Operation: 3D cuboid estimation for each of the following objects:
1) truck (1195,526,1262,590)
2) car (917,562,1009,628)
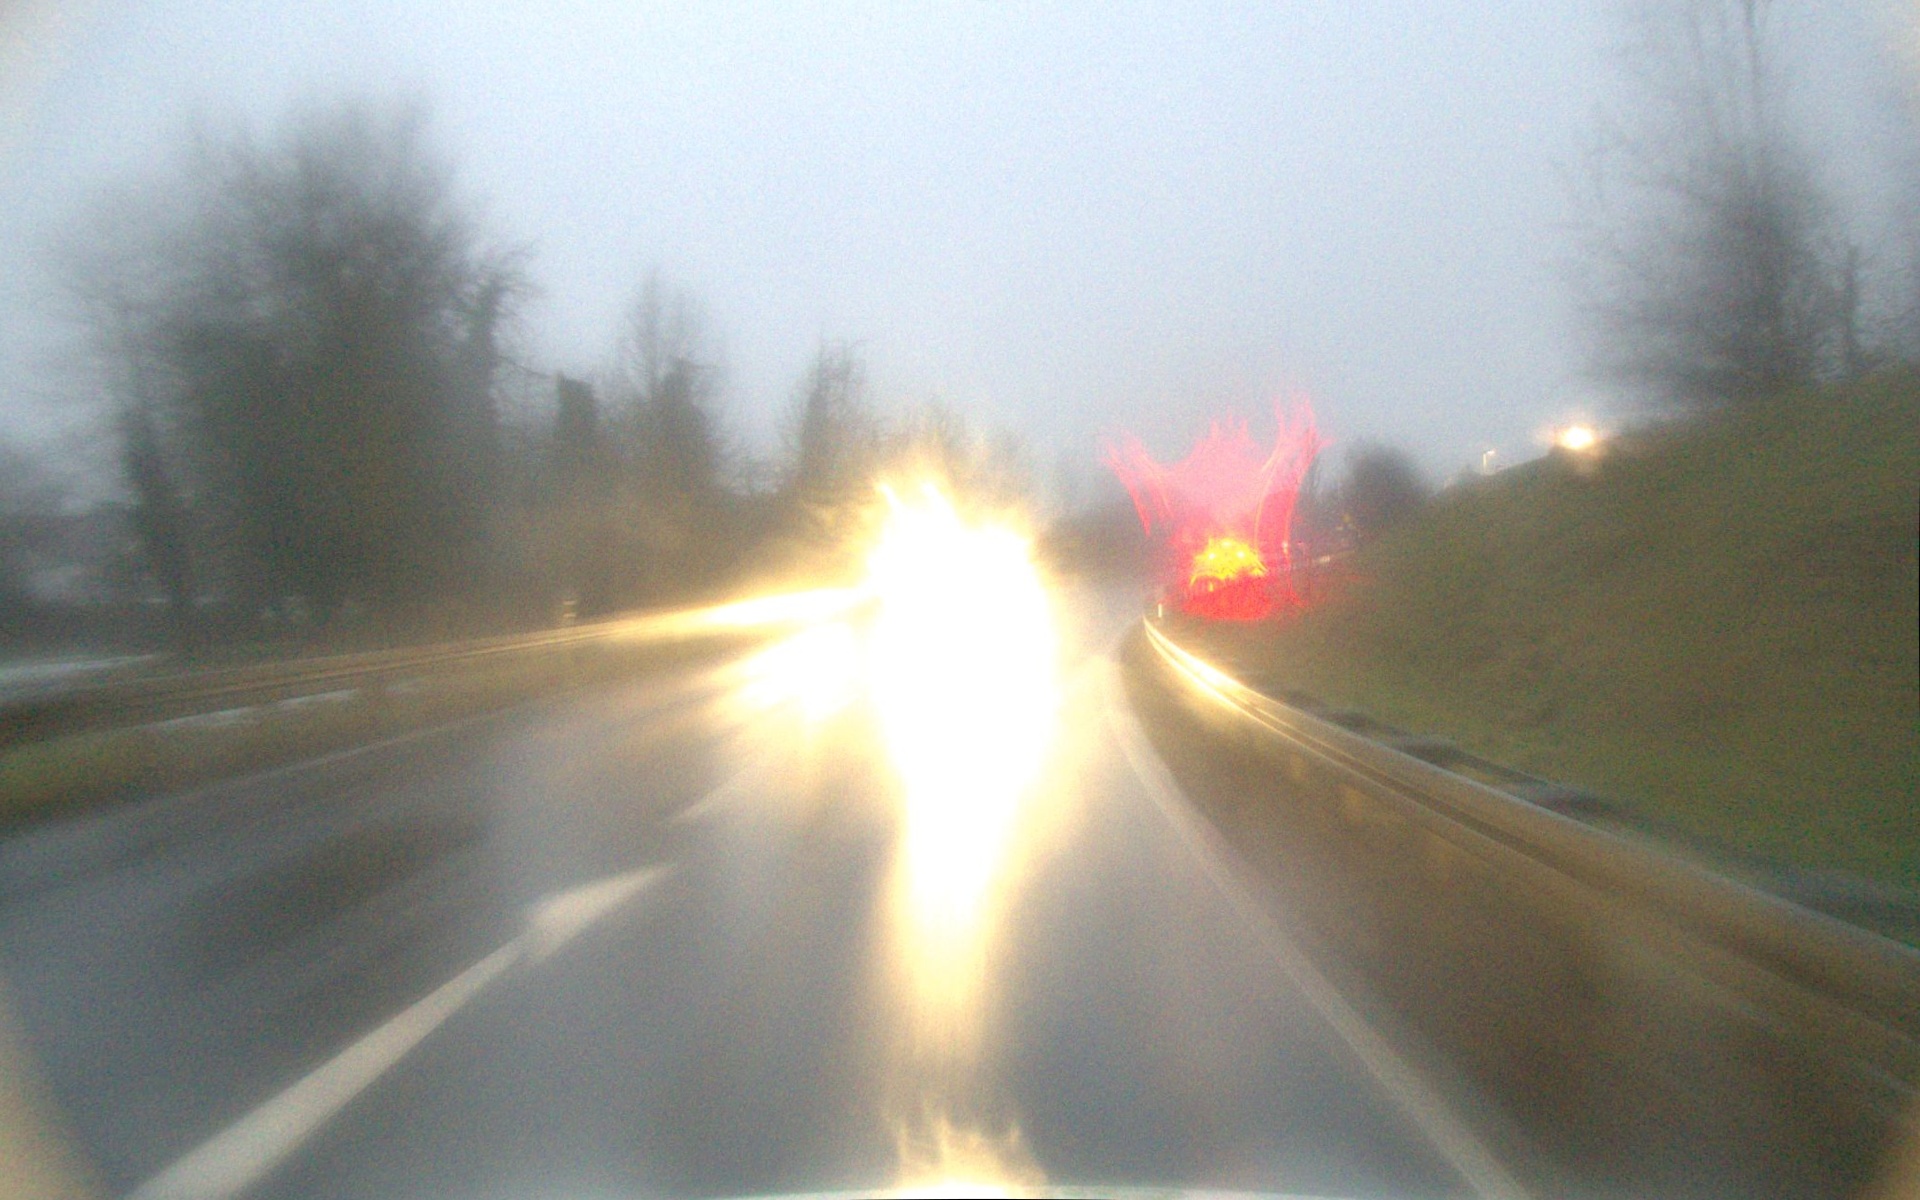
[{"bbox_3d":[13.407,-2.140,82.172,2.478,2.918,5.927,-4,1,16],"label":"truck"},{"bbox_3d":[0.139,-0.184,47.964,1.951,1.649,4.602,-4,1,8],"label":"car"}]
